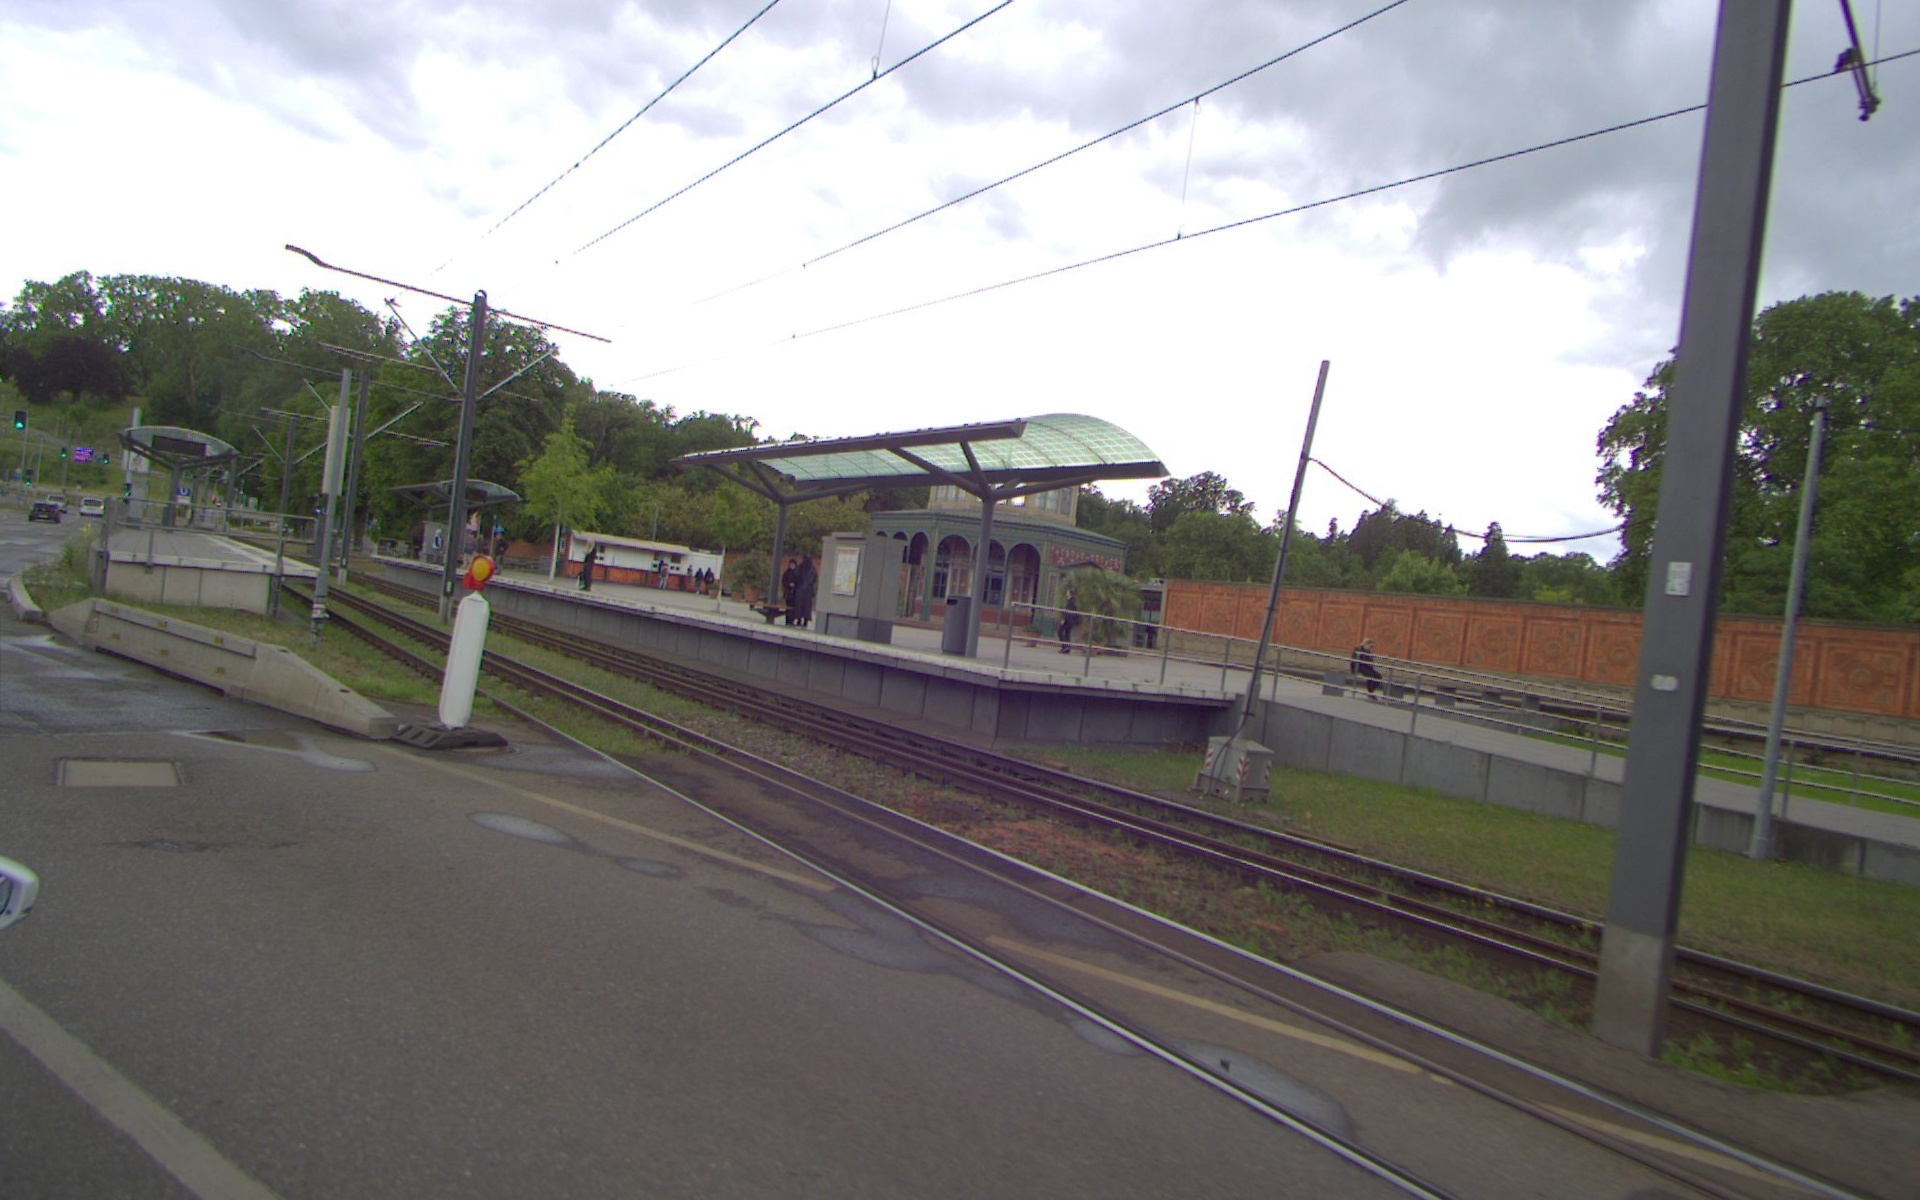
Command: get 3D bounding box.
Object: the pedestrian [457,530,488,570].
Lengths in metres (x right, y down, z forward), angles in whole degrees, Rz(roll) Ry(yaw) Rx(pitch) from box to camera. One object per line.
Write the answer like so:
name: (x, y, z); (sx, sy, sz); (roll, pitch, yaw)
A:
pedestrian: (-22.254, -2.282, 45.918); (0.751, 1.696, 0.860); (7, -2, 41)

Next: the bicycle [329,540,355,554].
bicycle: (-54.587, -4.651, 88.857); (1.903, 0.987, 0.525); (7, 0, -39)

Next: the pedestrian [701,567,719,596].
pedestrian: (-14.606, -1.073, 58.724); (0.614, 1.601, 0.584); (7, -2, 38)

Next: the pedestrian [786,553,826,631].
pedestrian: (-3.472, -0.182, 22.646); (0.482, 1.679, 0.623); (9, -2, -30)

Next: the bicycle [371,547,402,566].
bicycle: (-40.847, -3.088, 71.709); (1.757, 1.045, 0.478); (10, -3, -39)

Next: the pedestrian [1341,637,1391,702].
pedestrian: (8.310, 1.423, 20.591); (0.660, 1.215, 0.547); (7, -2, 44)

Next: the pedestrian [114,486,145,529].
pedestrian: (-33.484, -3.730, 40.558); (0.747, 1.571, 0.766); (9, 0, -38)

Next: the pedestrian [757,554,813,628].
pedestrian: (-4.039, -0.203, 23.299); (0.773, 1.559, 0.761); (7, -2, 28)

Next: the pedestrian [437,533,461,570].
pedestrian: (-25.015, -2.370, 49.226); (0.672, 1.696, 0.669); (9, -2, -42)

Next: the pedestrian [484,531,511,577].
pedestrian: (-19.720, -1.953, 42.866); (0.630, 1.859, 0.940); (9, -2, -38)

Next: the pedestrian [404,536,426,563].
pedestrian: (-28.883, -2.679, 53.294); (0.671, 1.338, 0.957); (10, -2, -40)

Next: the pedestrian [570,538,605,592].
pedestrian: (-12.483, -1.170, 33.724); (0.630, 1.706, 0.857); (9, -2, -39)

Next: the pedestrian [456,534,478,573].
pedestrian: (-21.927, -2.055, 44.740); (0.522, 1.638, 0.669); (9, -2, -38)

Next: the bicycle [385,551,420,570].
bicycle: (-37.723, -2.669, 68.067); (1.866, 0.974, 0.527); (11, -3, -39)

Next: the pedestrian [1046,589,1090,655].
pedestrian: (3.270, 0.652, 30.413); (0.940, 1.858, 0.547); (7, -2, 44)

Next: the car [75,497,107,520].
car: (-91.334, -9.614, 105.709); (2.195, 2.037, 5.088); (9, -2, -43)

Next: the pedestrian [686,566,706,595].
pedestrian: (-15.338, -1.132, 58.483); (0.613, 1.601, 0.655); (7, -2, 37)

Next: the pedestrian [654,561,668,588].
pedestrian: (-18.198, -1.541, 61.307); (0.483, 1.553, 0.455); (9, -2, -36)

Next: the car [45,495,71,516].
car: (-93.597, -9.767, 104.373); (1.749, 1.791, 3.951); (10, -3, -43)

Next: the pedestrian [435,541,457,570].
pedestrian: (-23.358, -2.043, 45.716); (0.655, 1.204, 0.669); (9, -2, -38)

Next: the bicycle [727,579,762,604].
bicycle: (-11.570, -0.465, 53.959); (1.684, 1.073, 0.565); (8, -2, 20)

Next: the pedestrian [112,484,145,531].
pedestrian: (-33.004, -3.666, 39.934); (0.767, 1.719, 0.723); (9, 0, -38)

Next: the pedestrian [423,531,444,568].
pedestrian: (-25.500, -2.464, 48.710); (0.542, 1.696, 0.667); (9, -2, -42)

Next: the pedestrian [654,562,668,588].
pedestrian: (-18.075, -1.523, 60.764); (0.483, 1.504, 0.455); (9, -2, -36)
